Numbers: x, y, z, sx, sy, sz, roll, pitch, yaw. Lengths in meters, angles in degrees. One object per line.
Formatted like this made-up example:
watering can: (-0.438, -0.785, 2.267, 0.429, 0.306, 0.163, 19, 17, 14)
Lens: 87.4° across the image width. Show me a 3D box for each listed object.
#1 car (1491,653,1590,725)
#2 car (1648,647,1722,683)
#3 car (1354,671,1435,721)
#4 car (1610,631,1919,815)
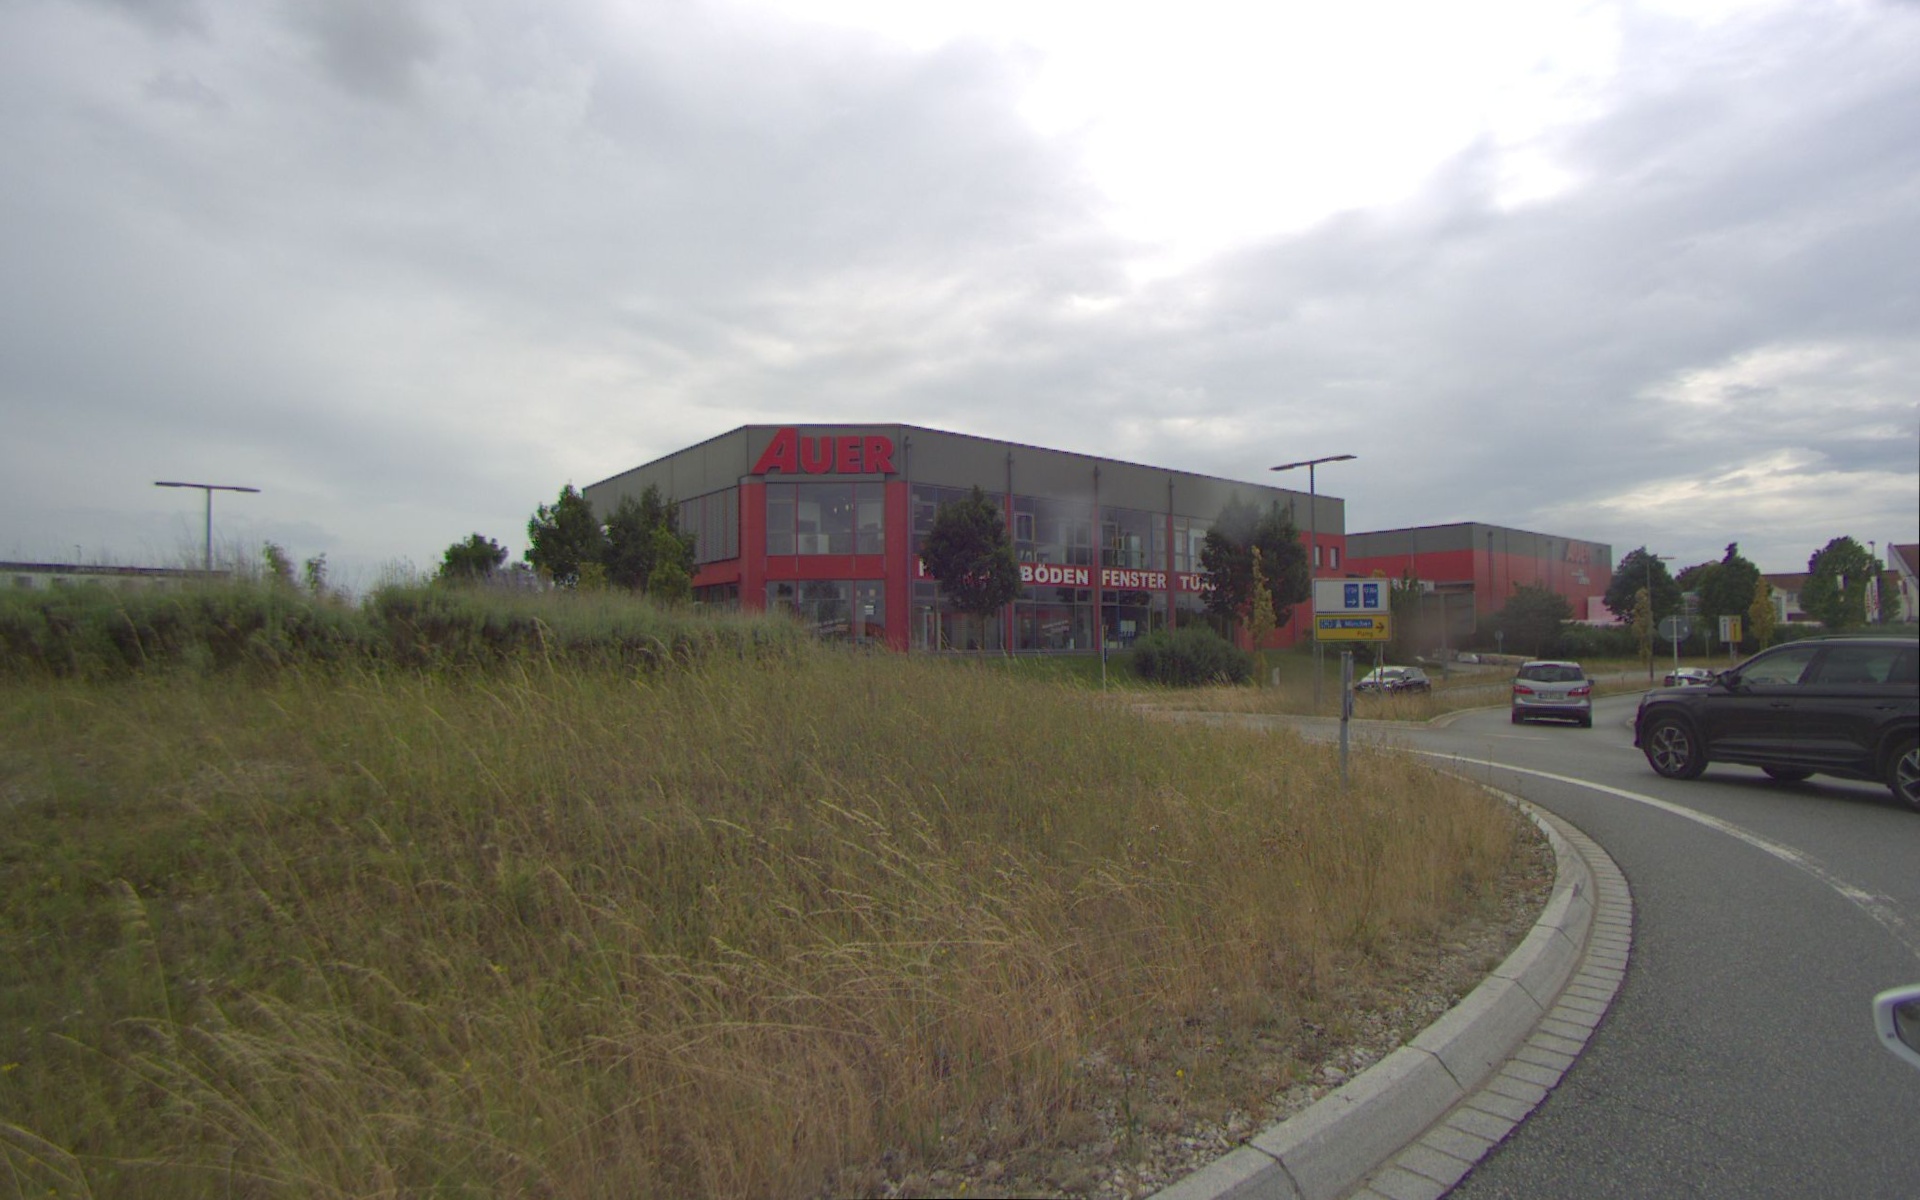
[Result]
car: (14.980, 2.239, 26.108, 1.739, 1.638, 3.920, -2, -3, 23)
car: (35.002, 3.102, 48.480, 3.965, 1.639, 1.892, 1, -3, -39)
car: (17.764, 3.861, 40.974, 3.929, 1.795, 1.659, 1, -3, -44)
car: (9.511, 1.185, 10.605, 1.784, 1.692, 4.610, 0, -2, -9)
